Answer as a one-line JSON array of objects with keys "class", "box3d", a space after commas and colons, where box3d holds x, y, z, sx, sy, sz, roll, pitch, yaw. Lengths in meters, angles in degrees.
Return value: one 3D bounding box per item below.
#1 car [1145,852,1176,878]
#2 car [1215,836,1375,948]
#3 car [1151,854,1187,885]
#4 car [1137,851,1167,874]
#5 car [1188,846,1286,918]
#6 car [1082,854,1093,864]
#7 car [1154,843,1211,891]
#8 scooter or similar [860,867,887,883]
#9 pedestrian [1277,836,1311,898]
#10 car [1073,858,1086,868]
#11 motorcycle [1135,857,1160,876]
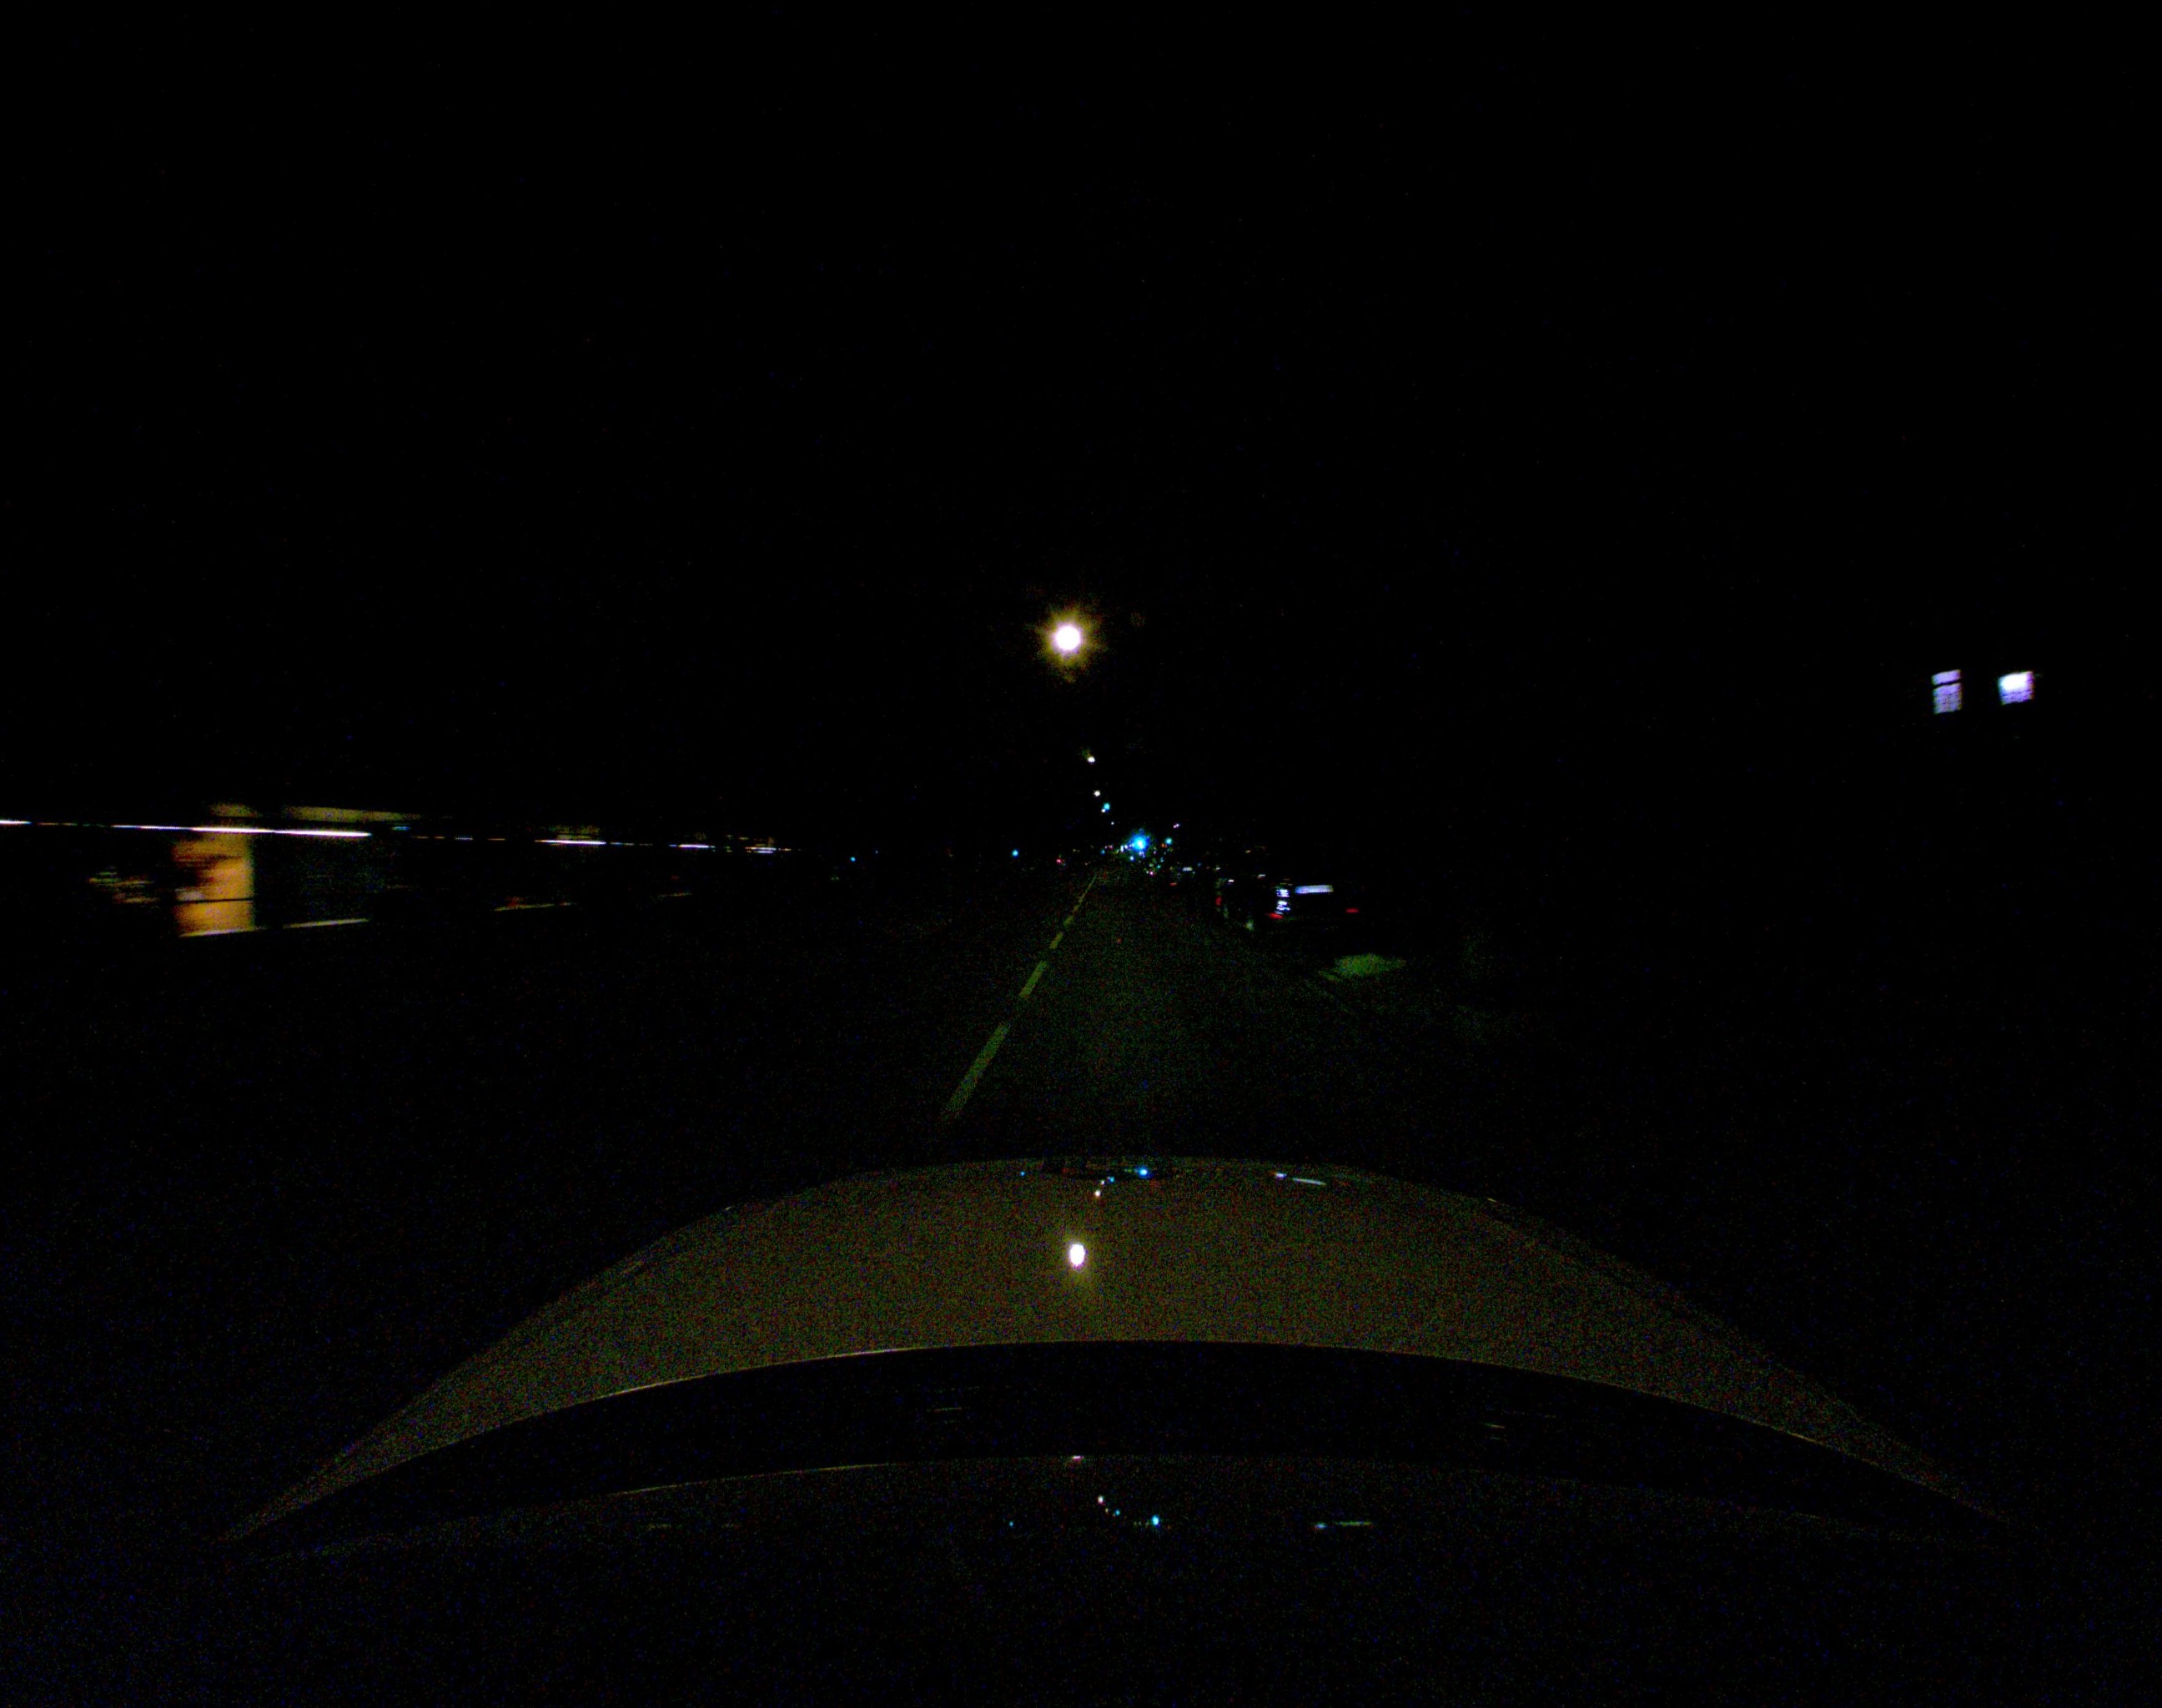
[{"class": "car", "box3d": [5.021, 0.671, 51.888, 1.585, 1.534, 4.139, -4, 0, 1]}, {"class": "car", "box3d": [3.732, 0.601, 14.978, 1.846, 1.654, 4.210, -4, 0, 1]}, {"class": "car", "box3d": [4.345, 0.751, 40.734, 1.514, 1.396, 3.987, -3, 0, 3]}, {"class": "car", "box3d": [5.153, 0.608, 59.313, 1.846, 1.590, 4.302, -2, 0, 1]}, {"class": "car", "box3d": [3.797, 0.642, 20.516, 1.846, 1.604, 4.211, 0, 0, 2]}, {"class": "car", "box3d": [1.183, 0.817, 138.109, 1.734, 1.415, 3.755, -2, 2, 2]}, {"class": "car", "box3d": [4.300, 0.529, 35.004, 1.766, 1.807, 4.276, -4, 0, -1]}, {"class": "scooter or similar", "box3d": [-13.943, 1.400, 54.710, 1.667, 1.008, 0.545, 0, 0, 3]}, {"class": "pedestrian", "box3d": [6.133, 0.381, 23.477, 0.702, 1.721, 0.822, -3, -1, 2]}, {"class": "car", "box3d": [-0.168, 1.336, 122.891, 1.734, 1.416, 3.754, -2, 0, 2]}, {"class": "motorcycle", "box3d": [4.503, 0.832, 55.289, 0.630, 1.270, 2.077, -2, 0, 37]}]
